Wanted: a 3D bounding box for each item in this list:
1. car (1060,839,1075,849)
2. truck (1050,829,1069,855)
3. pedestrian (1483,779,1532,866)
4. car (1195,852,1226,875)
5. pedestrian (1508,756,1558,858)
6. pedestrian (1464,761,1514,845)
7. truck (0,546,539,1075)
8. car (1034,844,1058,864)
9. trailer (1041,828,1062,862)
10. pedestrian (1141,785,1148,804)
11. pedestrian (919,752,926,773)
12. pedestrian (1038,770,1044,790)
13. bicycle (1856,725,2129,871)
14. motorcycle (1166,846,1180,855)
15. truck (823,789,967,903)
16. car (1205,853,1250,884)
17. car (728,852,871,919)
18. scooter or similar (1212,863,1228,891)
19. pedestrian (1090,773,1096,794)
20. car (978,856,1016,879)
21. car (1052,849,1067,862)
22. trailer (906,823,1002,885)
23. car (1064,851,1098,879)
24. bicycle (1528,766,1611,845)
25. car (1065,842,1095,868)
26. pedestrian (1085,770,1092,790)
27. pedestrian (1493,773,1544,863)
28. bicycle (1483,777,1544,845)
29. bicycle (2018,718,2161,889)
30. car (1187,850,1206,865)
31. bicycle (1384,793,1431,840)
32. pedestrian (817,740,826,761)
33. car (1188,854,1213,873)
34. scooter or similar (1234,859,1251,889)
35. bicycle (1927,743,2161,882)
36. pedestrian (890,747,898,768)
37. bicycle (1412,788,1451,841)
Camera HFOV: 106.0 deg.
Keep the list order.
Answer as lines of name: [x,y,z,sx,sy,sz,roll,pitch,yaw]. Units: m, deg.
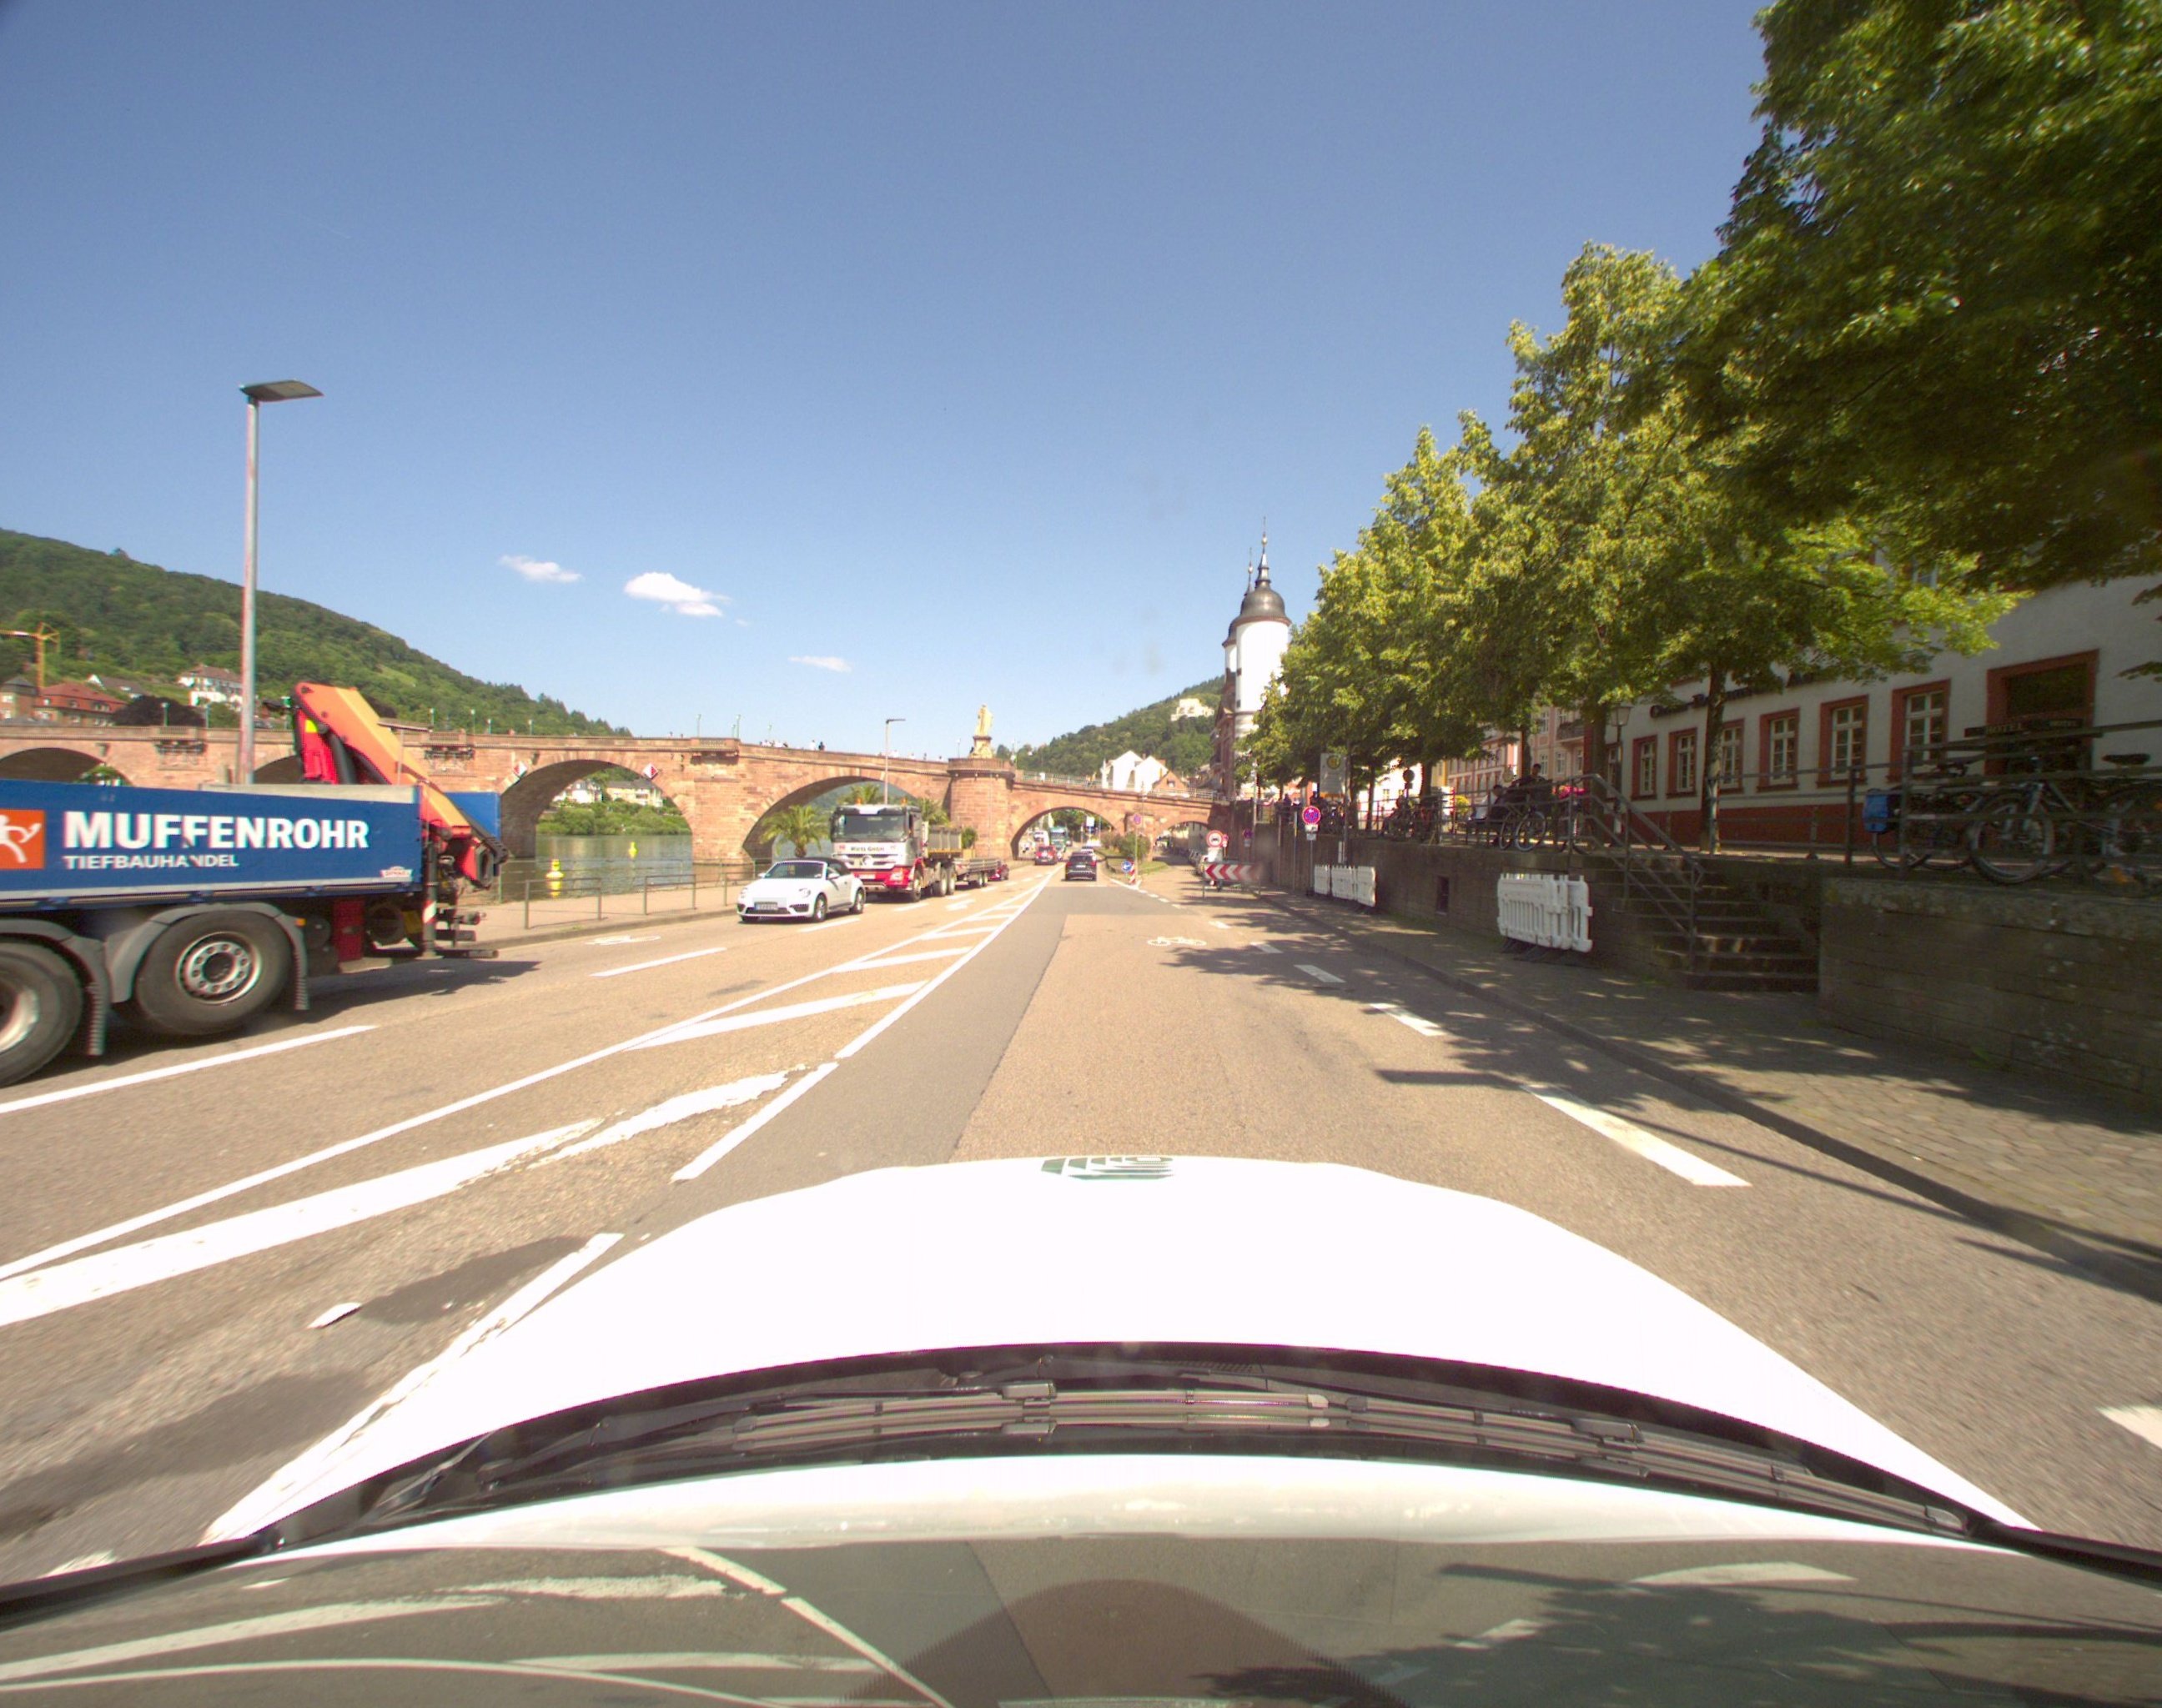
car: [-2.431,-1.721,144.417,1.856,1.662,3.984,-1,1,-11]
truck: [-3.189,-1.822,121.872,2.516,3.748,6.246,-1,2,0]
pedestrian: [8.591,-0.633,16.431,0.715,1.720,0.574,0,0,4]
car: [8.896,0.637,56.261,1.704,1.457,3.550,1,0,3]
pedestrian: [9.827,-1.005,17.721,0.715,2.189,0.712,0,0,4]
pedestrian: [8.532,-1.050,17.055,0.715,1.720,0.712,0,0,4]
truck: [-8.518,-0.286,4.504,2.628,3.476,11.127,0,0,6]
car: [-3.322,-0.037,77.521,1.867,1.827,4.547,-1,1,2]
trailer: [-2.978,-0.901,83.021,1.734,3.320,3.387,-1,0,3]
pedestrian: [6.773,-6.324,86.741,0.681,2.013,0.586,0,0,1]
pedestrian: [-16.034,-9.247,82.203,0.623,2.013,0.694,0,0,-6]
pedestrian: [-4.160,-7.733,85.051,0.579,2.013,0.586,0,0,1]
bicycle: [8.028,-0.457,7.317,0.380,1.140,1.936,0,1,4]
motorcycle: [13.532,-0.549,119.858,2.208,1.267,0.621,0,2,-37]
truck: [-6.241,-0.229,28.800,2.630,3.457,7.881,-1,0,5]
car: [7.382,0.676,41.500,1.834,1.450,4.541,1,0,5]
car: [-6.641,0.678,19.716,1.769,1.443,4.003,0,0,5]
scooter or similar: [5.689,0.934,33.341,0.528,1.089,1.444,0,0,14]
pedestrian: [1.212,-7.064,81.904,0.621,2.013,0.695,0,0,2]
car: [-4.757,0.749,46.517,1.665,1.194,3.631,-1,0,2]
car: [-2.593,0.179,97.262,1.529,1.436,3.730,-1,1,2]
trailer: [-5.586,0.021,37.041,2.685,2.531,6.956,-1,0,5]
car: [0.044,0.622,46.933,1.850,1.523,4.002,0,0,2]
bicycle: [7.384,-0.693,12.400,0.407,1.106,1.929,0,0,10]
car: [-0.037,0.062,63.528,1.985,2.013,4.004,0,0,4]
pedestrian: [0.816,-7.710,84.892,0.681,2.013,0.586,0,0,1]
pedestrian: [8.483,-0.690,15.811,0.715,1.720,0.574,0,0,4]
bicycle: [7.448,-0.704,14.094,0.407,1.106,1.739,0,0,10]
bicycle: [6.494,-0.295,4.624,0.296,1.004,1.862,0,1,4]
car: [12.883,0.370,91.068,1.884,1.492,4.422,0,1,4]
bicycle: [8.066,-0.900,20.202,0.409,1.106,1.733,0,0,-2]
pedestrian: [-26.100,-10.399,81.988,0.691,2.013,0.625,0,0,-2]
car: [8.893,0.687,60.349,1.700,1.388,4.419,0,0,10]
scooter or similar: [6.757,0.825,34.104,0.527,1.230,1.277,0,0,19]
bicycle: [7.373,-0.302,6.036,1.847,1.004,0.299,0,1,1]
pedestrian: [-18.945,-9.775,82.574,0.623,2.013,0.694,0,0,-6]
bicycle: [7.828,-0.853,18.235,0.407,1.106,1.739,0,0,10]
